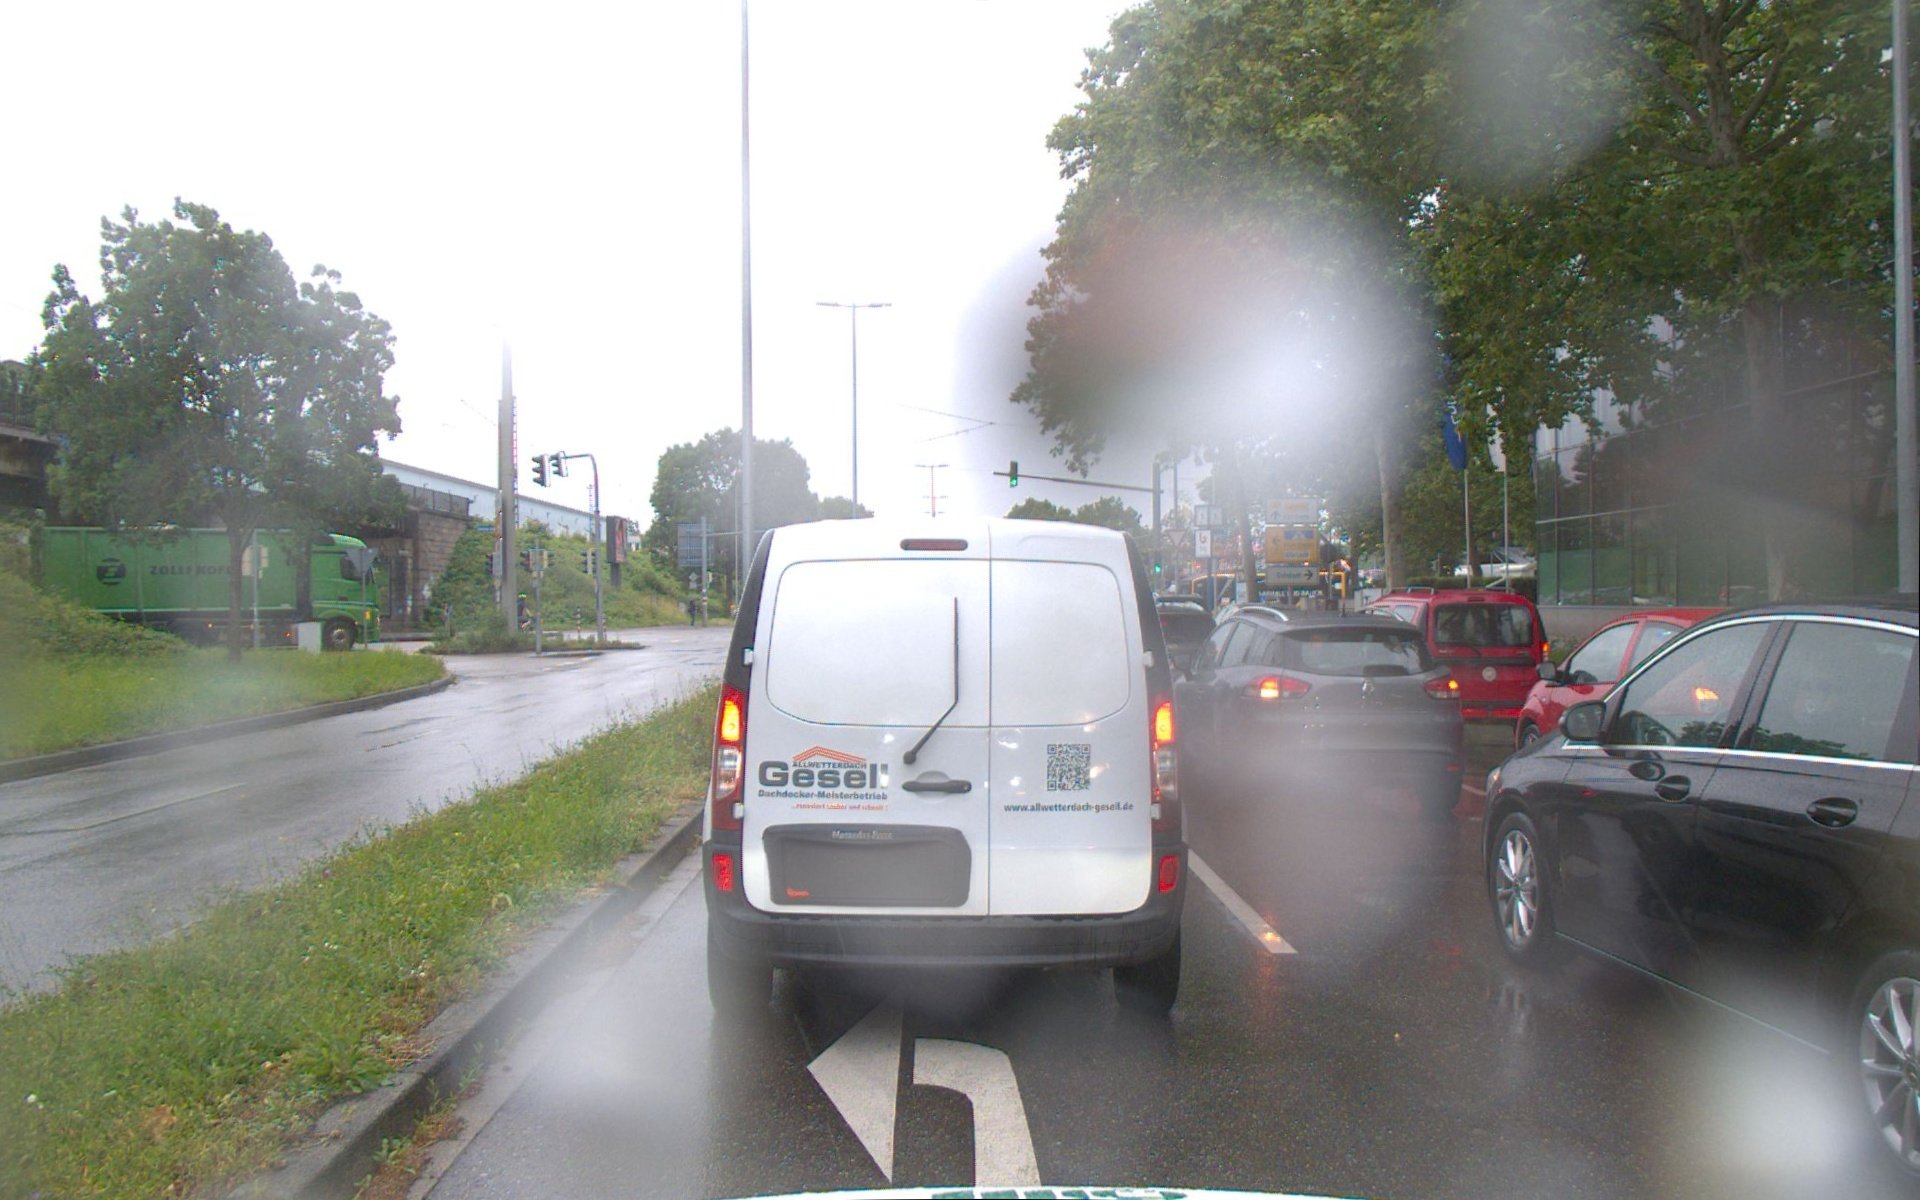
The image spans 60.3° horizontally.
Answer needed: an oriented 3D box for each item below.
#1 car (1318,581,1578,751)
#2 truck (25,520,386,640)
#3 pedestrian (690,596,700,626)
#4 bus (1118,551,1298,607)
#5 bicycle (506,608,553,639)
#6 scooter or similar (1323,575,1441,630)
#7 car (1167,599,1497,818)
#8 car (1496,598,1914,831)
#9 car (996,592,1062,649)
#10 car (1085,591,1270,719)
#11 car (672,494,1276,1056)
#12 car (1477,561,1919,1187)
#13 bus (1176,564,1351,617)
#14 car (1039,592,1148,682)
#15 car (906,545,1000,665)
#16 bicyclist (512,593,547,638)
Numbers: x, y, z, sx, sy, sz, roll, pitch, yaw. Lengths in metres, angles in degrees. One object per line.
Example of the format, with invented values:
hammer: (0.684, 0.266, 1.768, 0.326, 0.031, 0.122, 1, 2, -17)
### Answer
car: (5.476, 0.701, 19.135, 1.676, 1.724, 4.271, 1, -1, -1)
truck: (-23.158, -0.618, 51.273, 9.957, 3.430, 2.316, 0, 0, -37)
pedestrian: (-15.351, 0.619, 95.857, 0.532, 1.746, 0.563, 1, -1, -5)
bus: (16.602, -1.406, 111.147, 11.727, 3.483, 2.315, -1, 1, -1)
bicycle: (-14.415, 0.763, 55.306, 1.027, 0.968, 2.866, -1, 1, -25)
scooter or similar: (19.675, 0.093, 77.356, 1.878, 2.489, 5.239, 0, 0, -41)
car: (2.772, 0.737, 13.148, 1.649, 1.433, 3.842, 1, 0, -2)
car: (5.403, 0.745, 12.460, 1.537, 1.488, 3.388, 0, 0, -2)
car: (2.065, 0.611, 50.570, 1.816, 1.678, 3.842, 0, 0, -1)
car: (2.696, 0.636, 21.303, 1.816, 1.486, 3.842, 0, 0, -1)
car: (0.016, 0.545, 7.639, 1.953, 1.807, 4.584, 0, 0, -1)
car: (3.249, 0.693, 5.444, 1.712, 1.582, 4.089, 0, 0, -2)
bus: (21.139, -0.670, 115.463, 11.735, 3.483, 2.481, -1, 1, -5)
car: (2.592, 0.687, 32.954, 1.816, 1.678, 3.842, 0, 0, -1)
car: (-0.166, 0.077, 34.046, 1.816, 2.336, 3.842, 0, 0, -1)
bicyclist: (-14.382, 0.507, 55.250, 1.028, 1.475, 0.723, -1, 1, -26)
